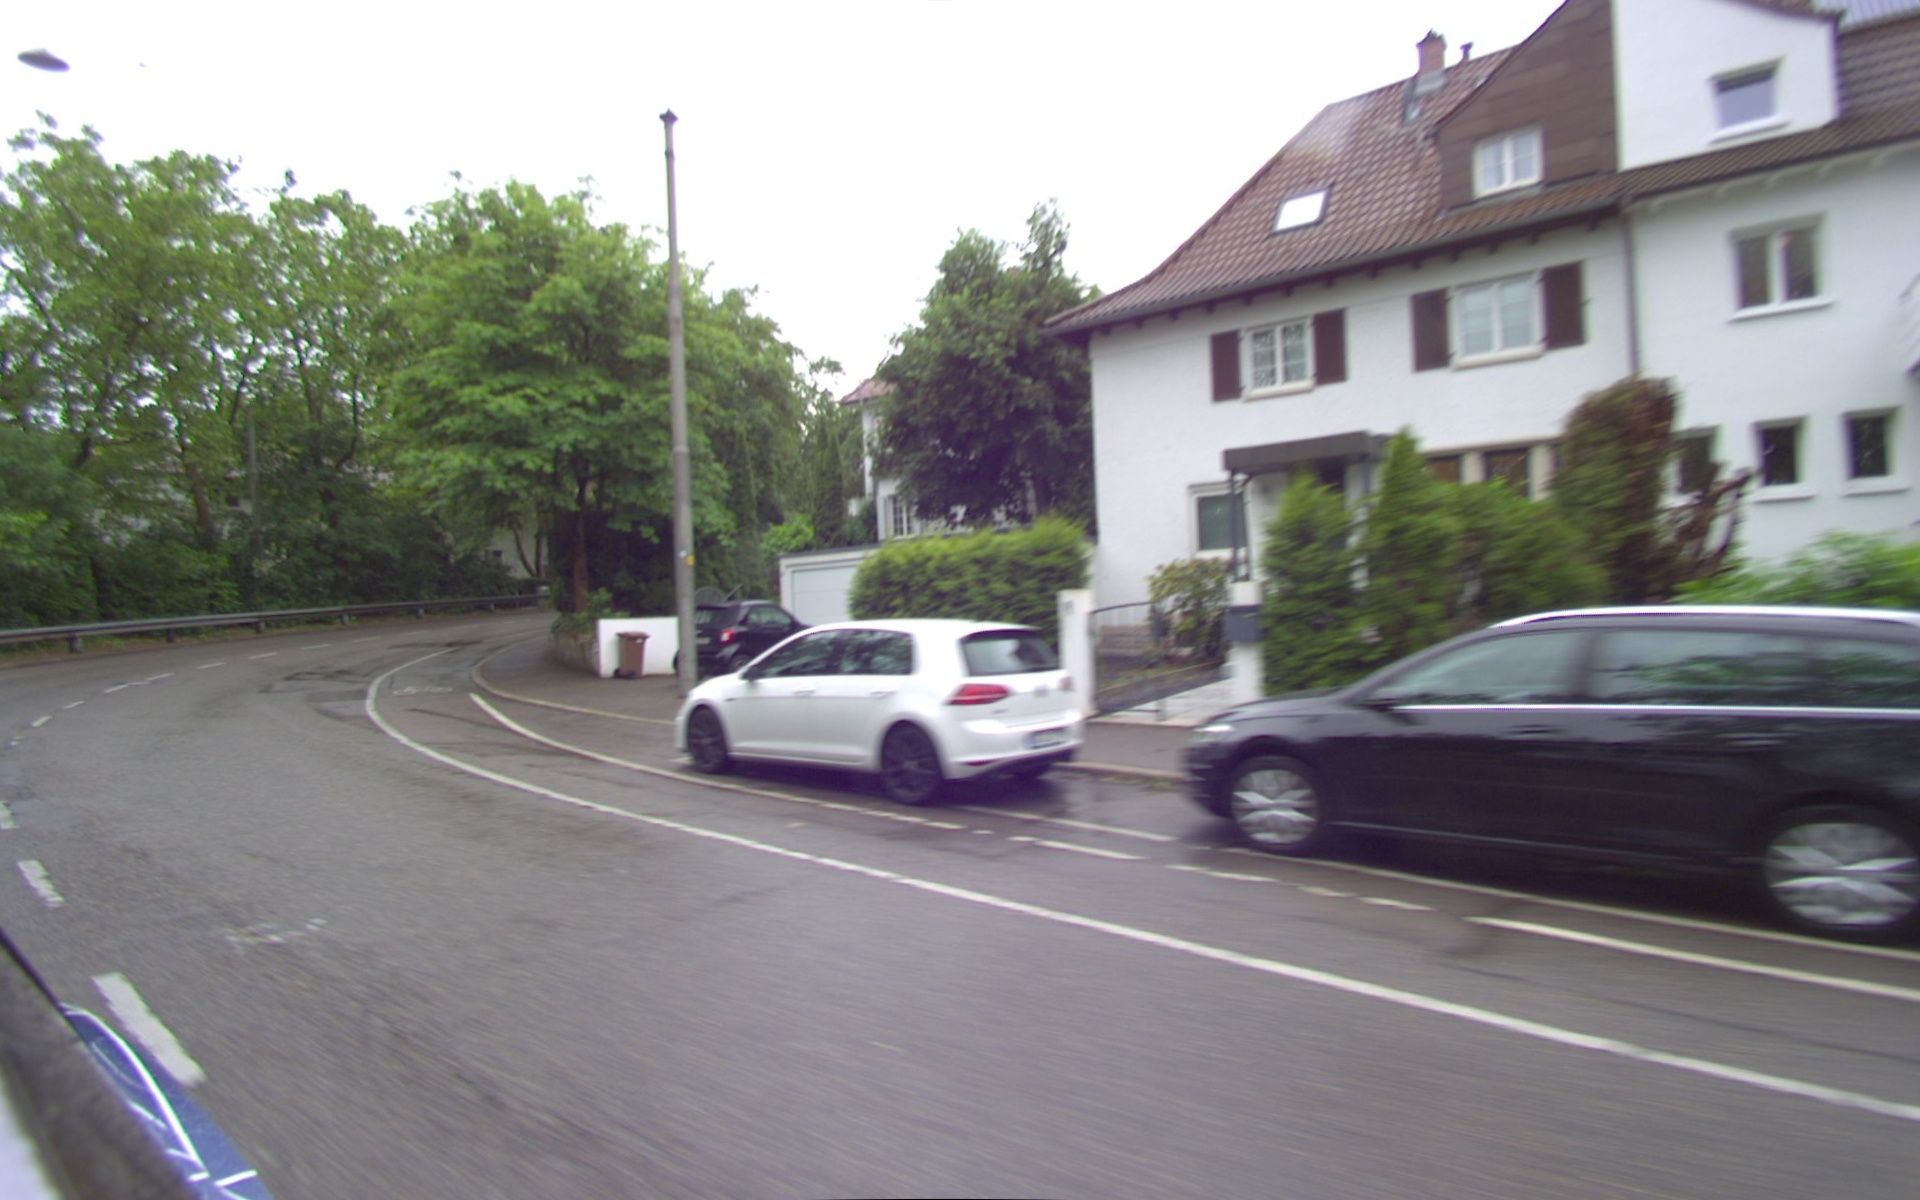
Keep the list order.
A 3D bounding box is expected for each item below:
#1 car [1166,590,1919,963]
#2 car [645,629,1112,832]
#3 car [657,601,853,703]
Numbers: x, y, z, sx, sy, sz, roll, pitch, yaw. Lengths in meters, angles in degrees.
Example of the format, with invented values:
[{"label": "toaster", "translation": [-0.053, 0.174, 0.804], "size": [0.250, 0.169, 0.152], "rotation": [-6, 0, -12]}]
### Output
[{"label": "car", "translation": [3.538, 0.772, 5.640], "size": [4.419, 1.536, 1.681], "rotation": [-2, -2, 40]}, {"label": "car", "translation": [-0.908, 1.039, 9.229], "size": [4.279, 1.433, 1.715], "rotation": [-3, -4, 40]}, {"label": "car", "translation": [-3.896, 0.922, 19.599], "size": [1.819, 1.531, 3.308], "rotation": [-1, 4, 36]}]
